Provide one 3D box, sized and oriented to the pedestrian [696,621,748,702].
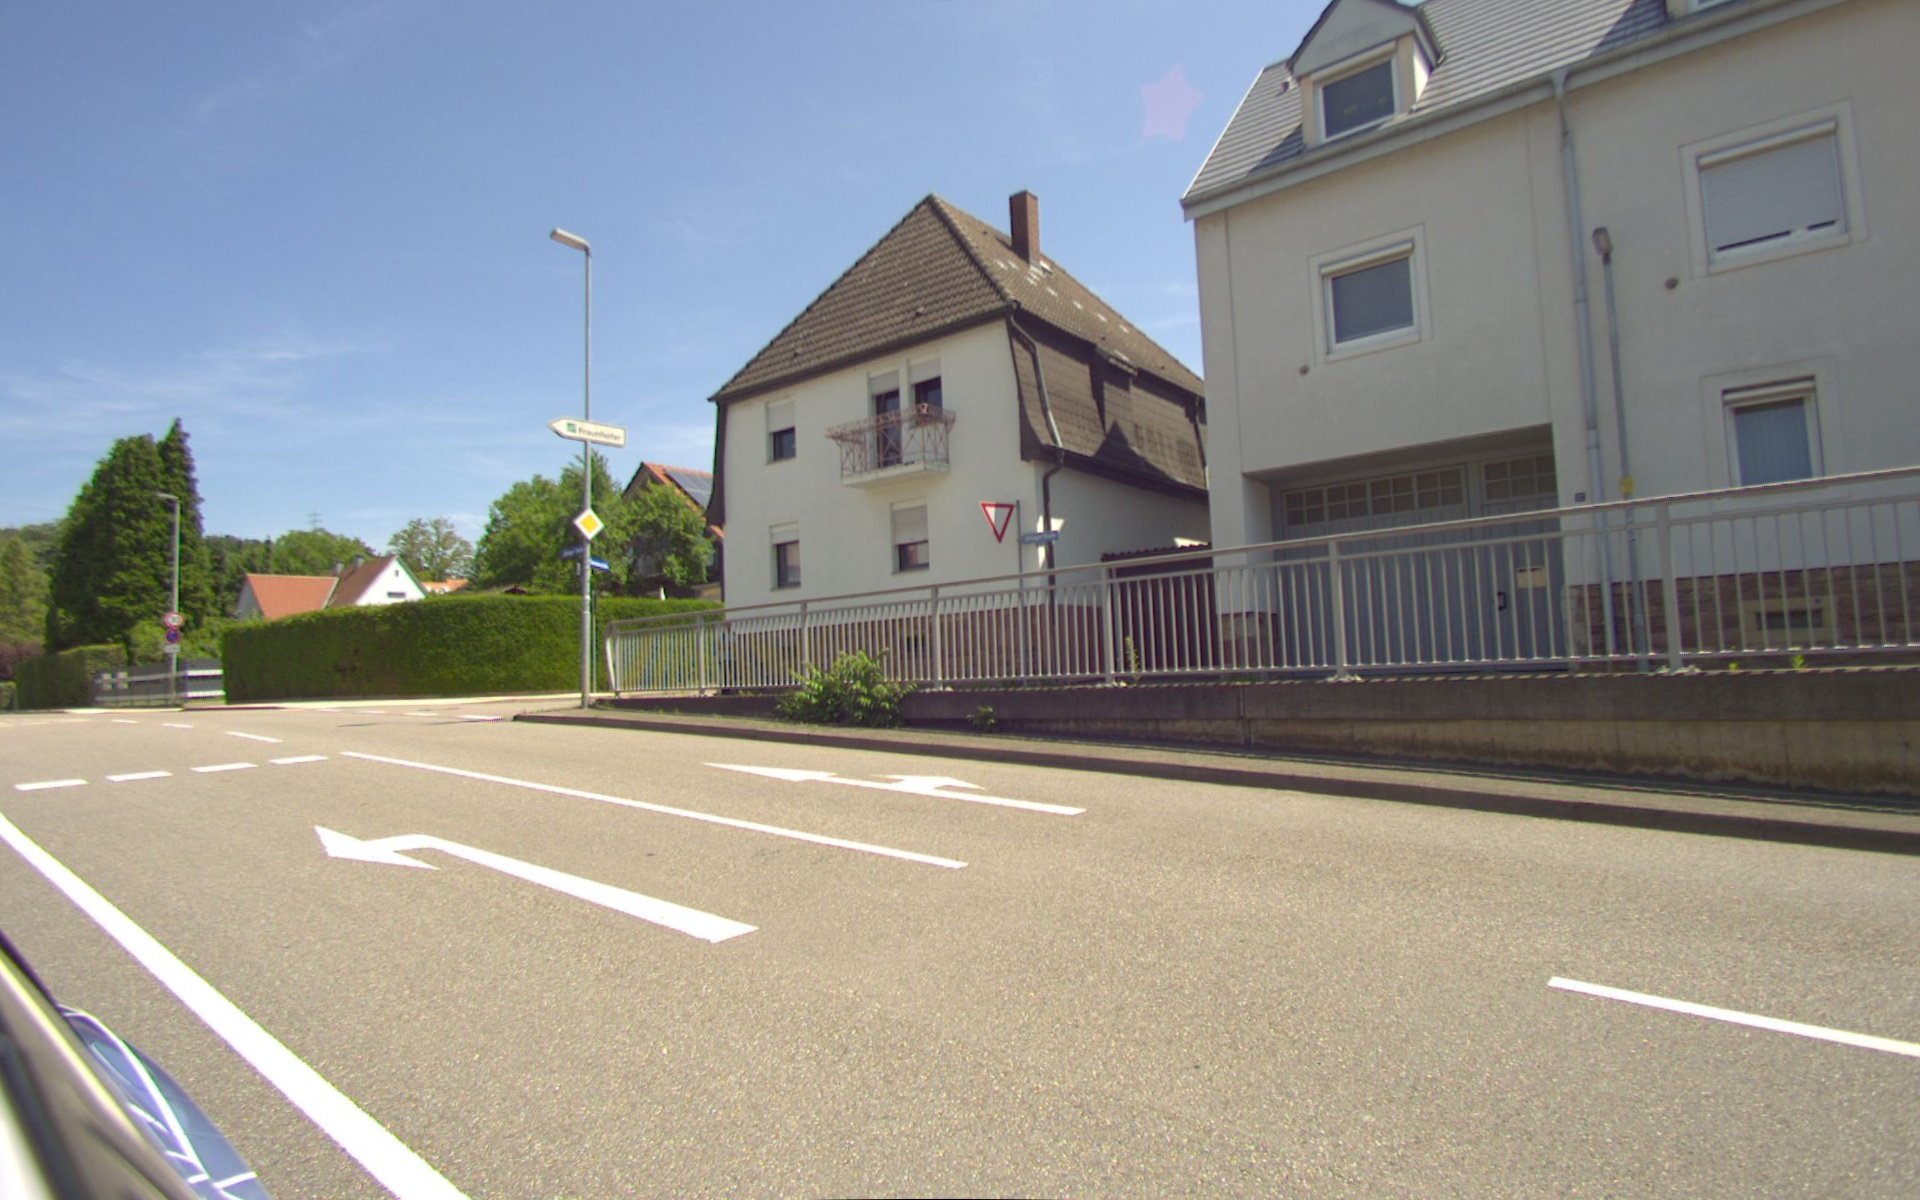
[{"bbox_3d":[-5.273,1.359,22.455,0.855,1.742,0.720,-2,-2,37],"label":"pedestrian"}]
